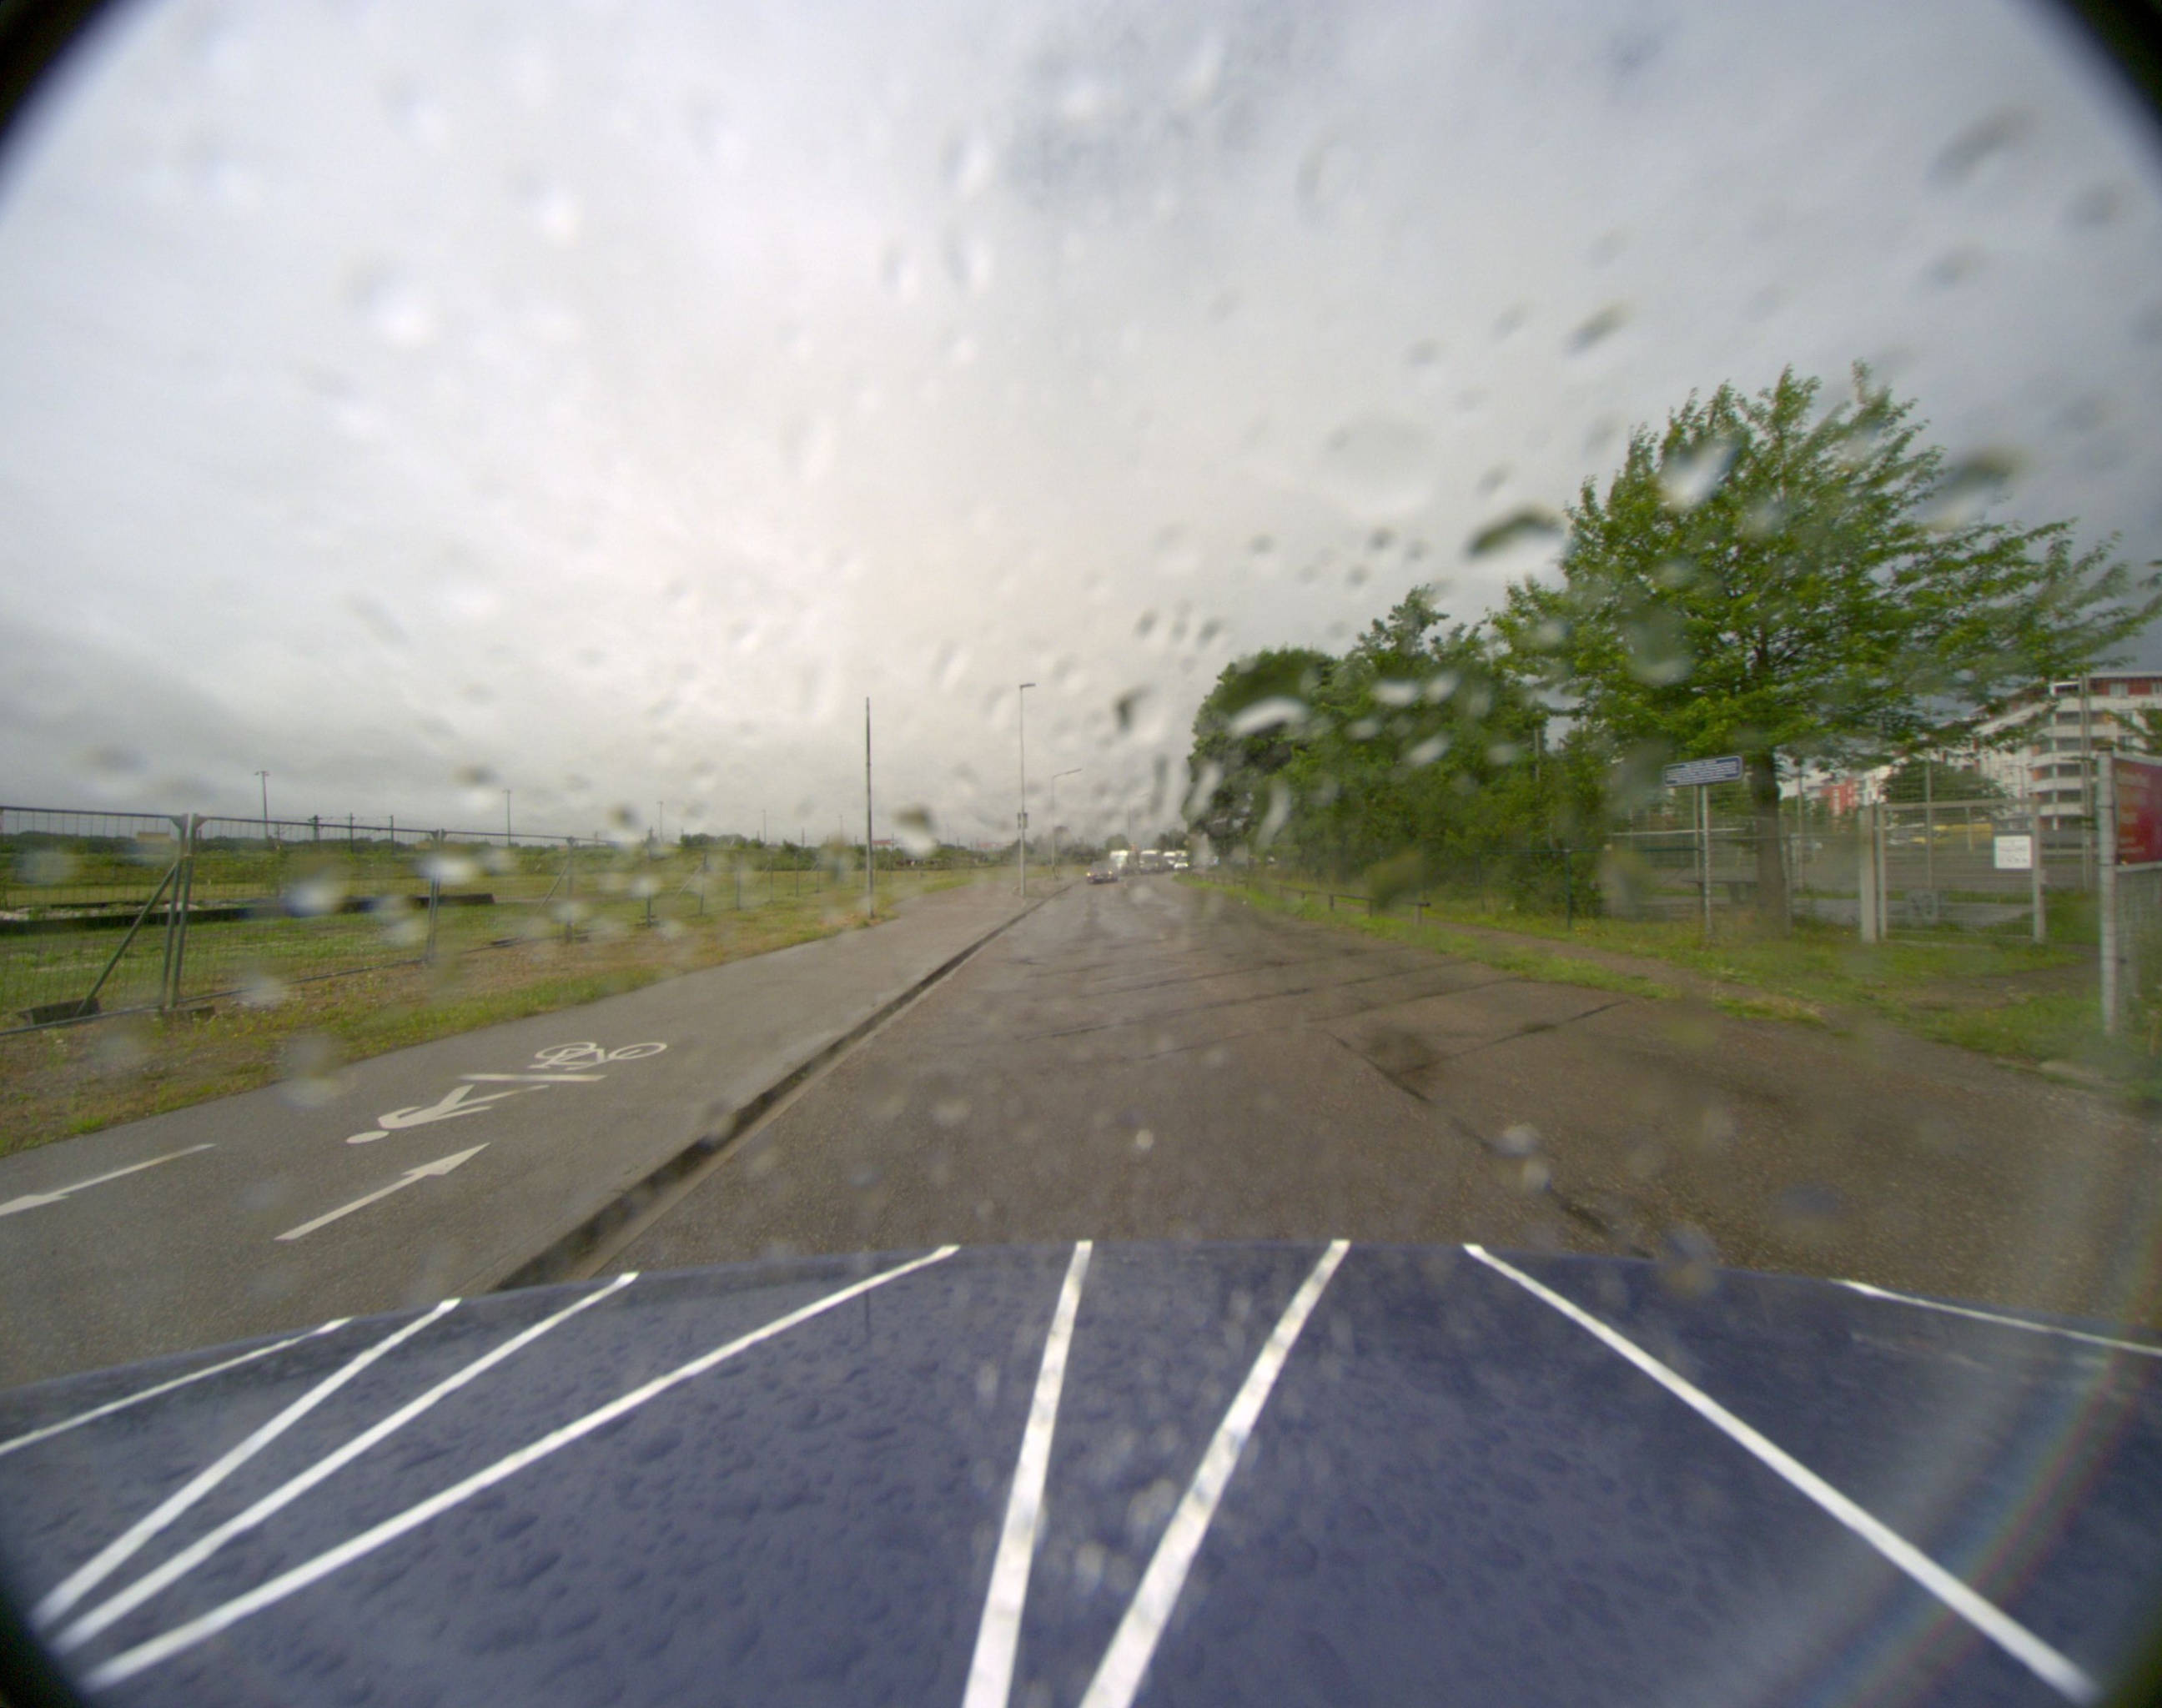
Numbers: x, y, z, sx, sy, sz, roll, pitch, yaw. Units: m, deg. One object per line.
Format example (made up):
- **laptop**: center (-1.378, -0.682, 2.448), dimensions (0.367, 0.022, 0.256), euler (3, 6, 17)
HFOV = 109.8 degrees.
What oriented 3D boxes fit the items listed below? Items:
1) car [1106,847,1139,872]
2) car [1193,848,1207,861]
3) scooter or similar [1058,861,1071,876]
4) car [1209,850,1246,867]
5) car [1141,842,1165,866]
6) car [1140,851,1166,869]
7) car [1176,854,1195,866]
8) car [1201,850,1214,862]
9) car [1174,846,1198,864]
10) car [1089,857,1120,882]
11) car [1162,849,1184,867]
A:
- **car**: center (4.318, 0.500, 78.320), dimensions (2.094, 2.458, 5.954), euler (0, 1, 16)
- **car**: center (21.545, 0.026, 137.348), dimensions (1.996, 2.228, 4.569), euler (-1, 0, 16)
- **scooter or similar**: center (-1.357, 1.189, 61.585), dimensions (0.491, 1.208, 1.342), euler (-1, 0, 25)
- **car**: center (16.797, 0.506, 87.171), dimensions (3.815, 1.623, 1.757), euler (-5, 0, 18)
- **car**: center (9.108, -0.036, 95.392), dimensions (2.147, 2.867, 5.281), euler (1, 1, 14)
- **car**: center (7.490, 0.611, 78.574), dimensions (2.008, 1.695, 4.334), euler (-3, 0, 14)
- **car**: center (13.840, 0.809, 100.172), dimensions (1.839, 1.510, 4.362), euler (-1, 0, 16)
- **car**: center (24.971, 0.447, 149.678), dimensions (1.996, 2.228, 4.569), euler (-1, 0, 16)
- **car**: center (17.001, 0.161, 122.485), dimensions (2.473, 2.938, 6.896), euler (0, 0, 19)
- **car**: center (1.646, 1.015, 51.283), dimensions (1.873, 1.510, 4.359), euler (-2, 0, 4)
- **car**: center (13.483, 0.516, 110.766), dimensions (2.071, 2.514, 6.666), euler (0, 0, 17)
